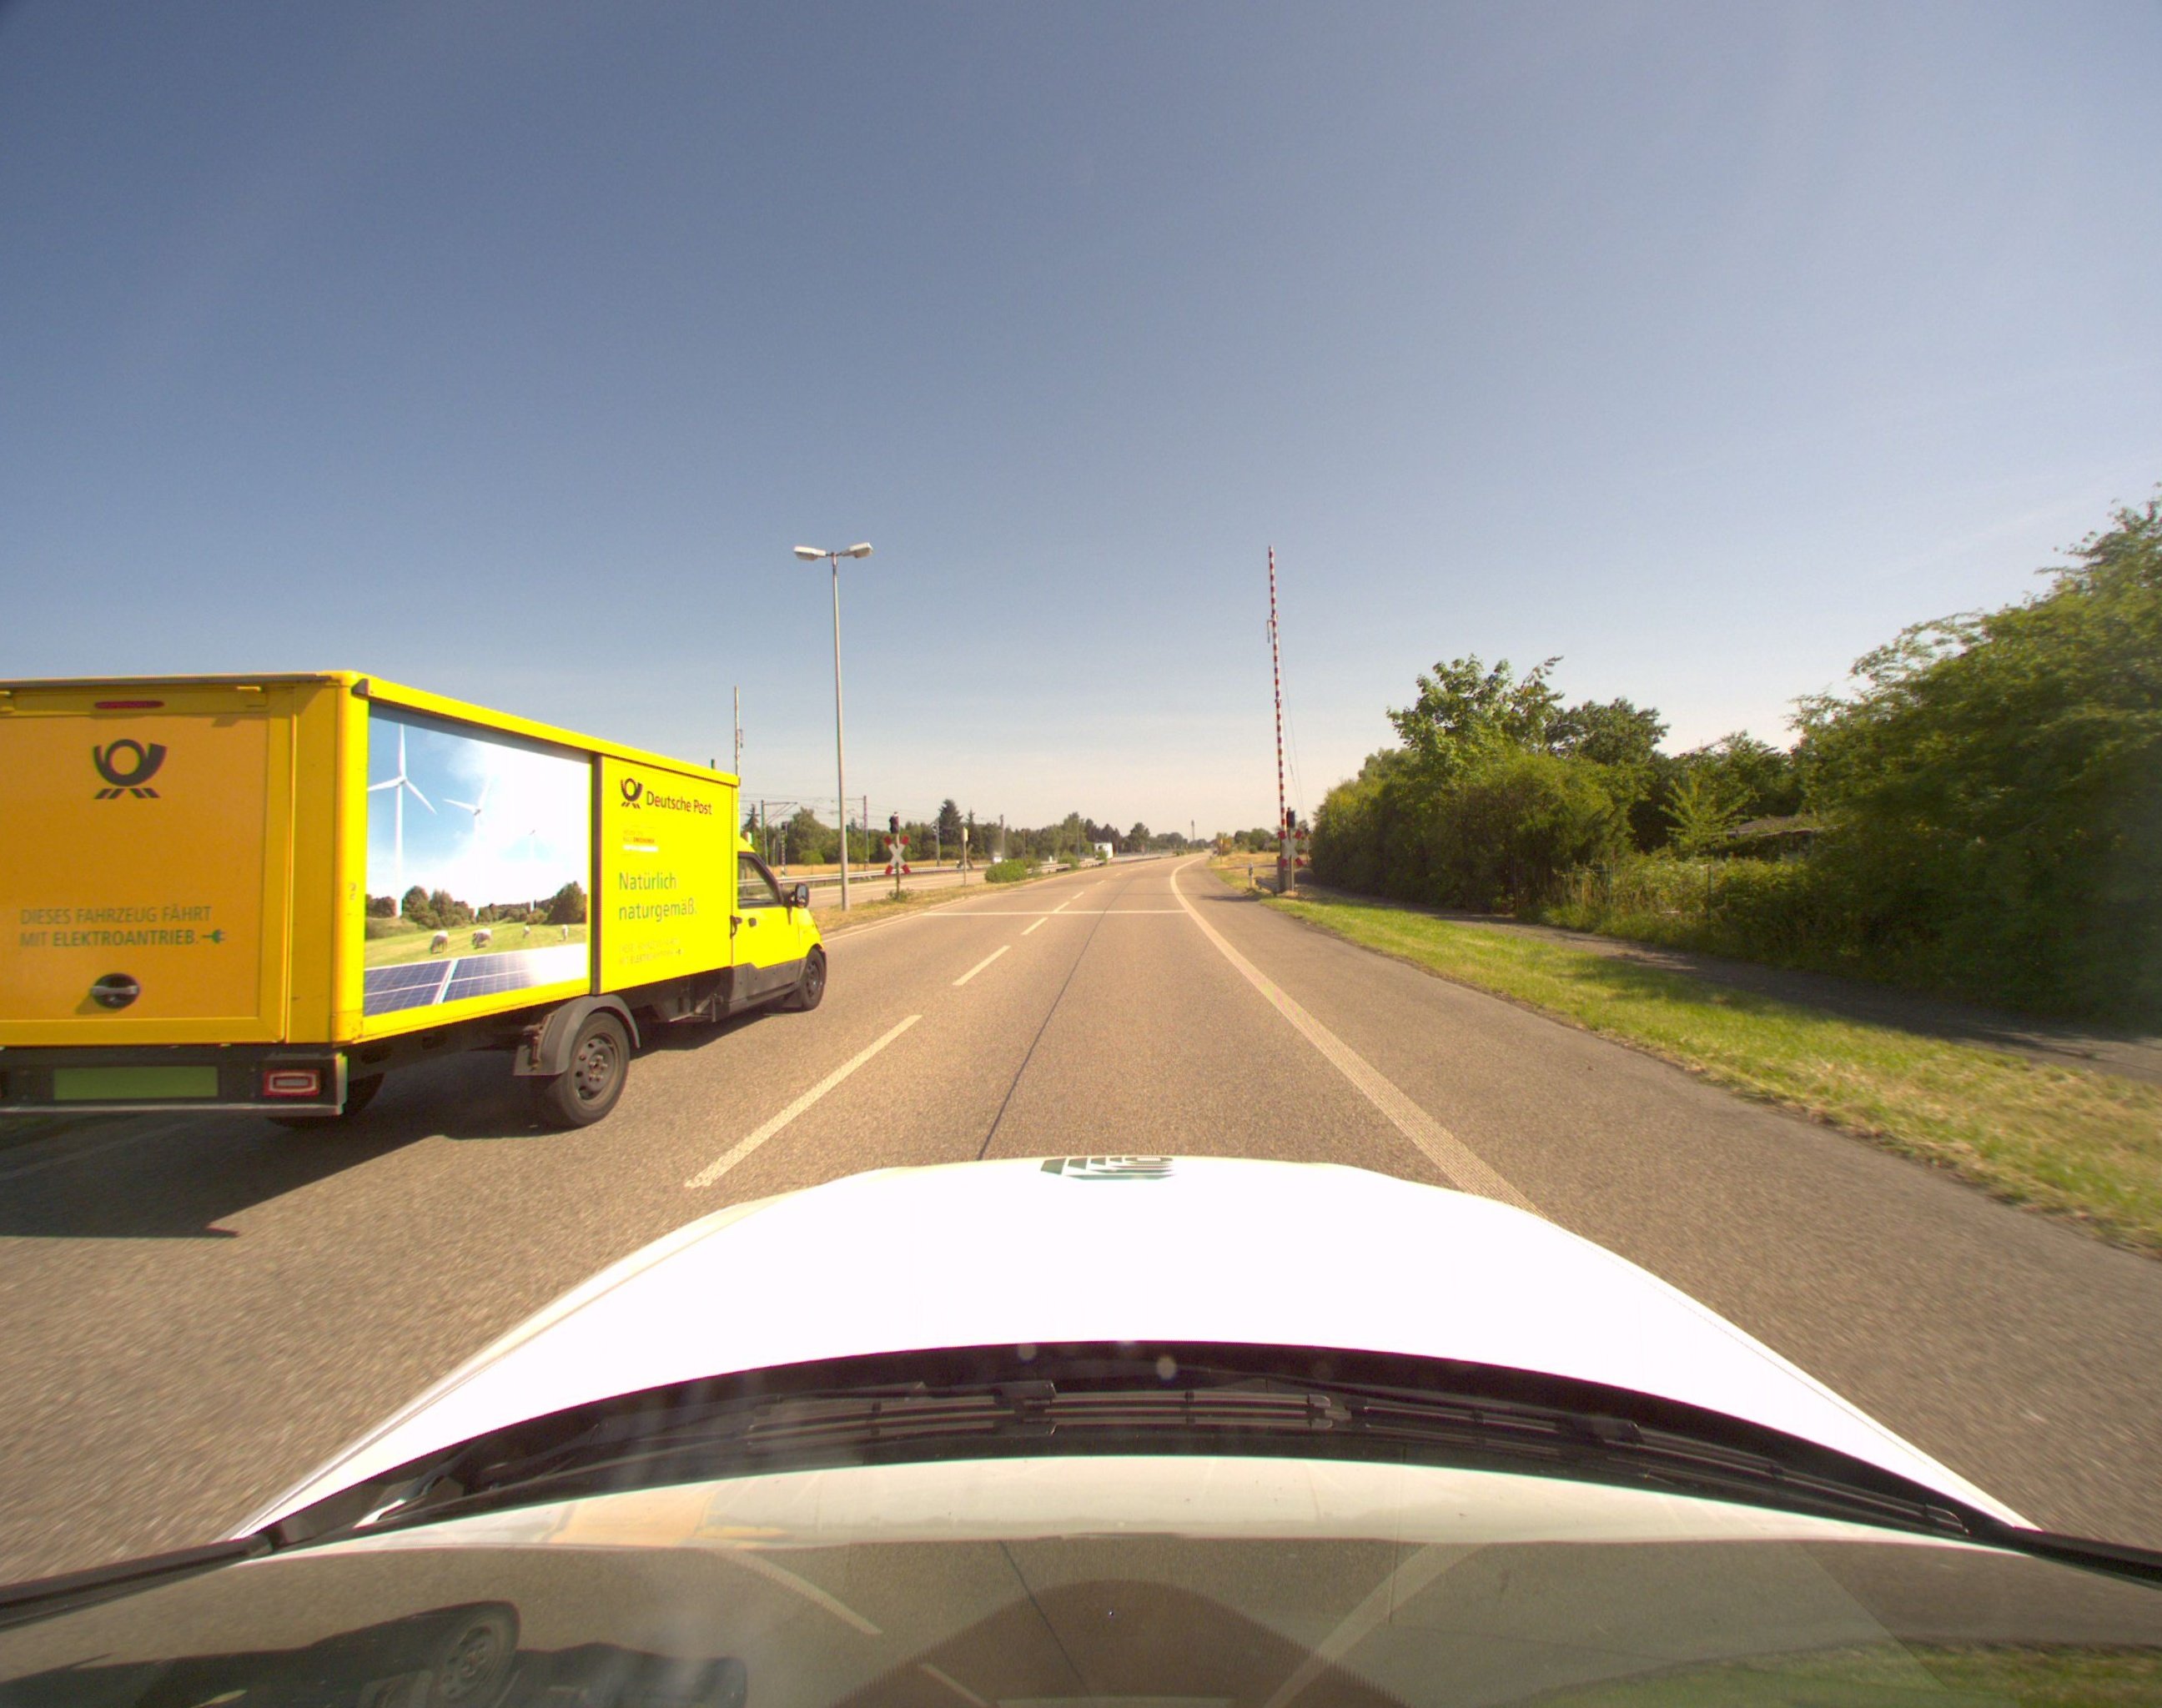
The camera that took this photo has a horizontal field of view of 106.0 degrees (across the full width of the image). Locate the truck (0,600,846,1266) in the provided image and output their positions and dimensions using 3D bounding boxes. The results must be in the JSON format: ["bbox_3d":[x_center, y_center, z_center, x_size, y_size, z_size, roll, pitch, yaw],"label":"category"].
[{"bbox_3d":[-3.758,0.298,5.989,2.103,2.457,5.920,-1,0,2],"label":"truck"}]

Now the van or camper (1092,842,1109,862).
[{"bbox_3d":[3.820,-0.326,157.226,2.863,3.680,8.654,-2,0,4],"label":"van or camper"}]
